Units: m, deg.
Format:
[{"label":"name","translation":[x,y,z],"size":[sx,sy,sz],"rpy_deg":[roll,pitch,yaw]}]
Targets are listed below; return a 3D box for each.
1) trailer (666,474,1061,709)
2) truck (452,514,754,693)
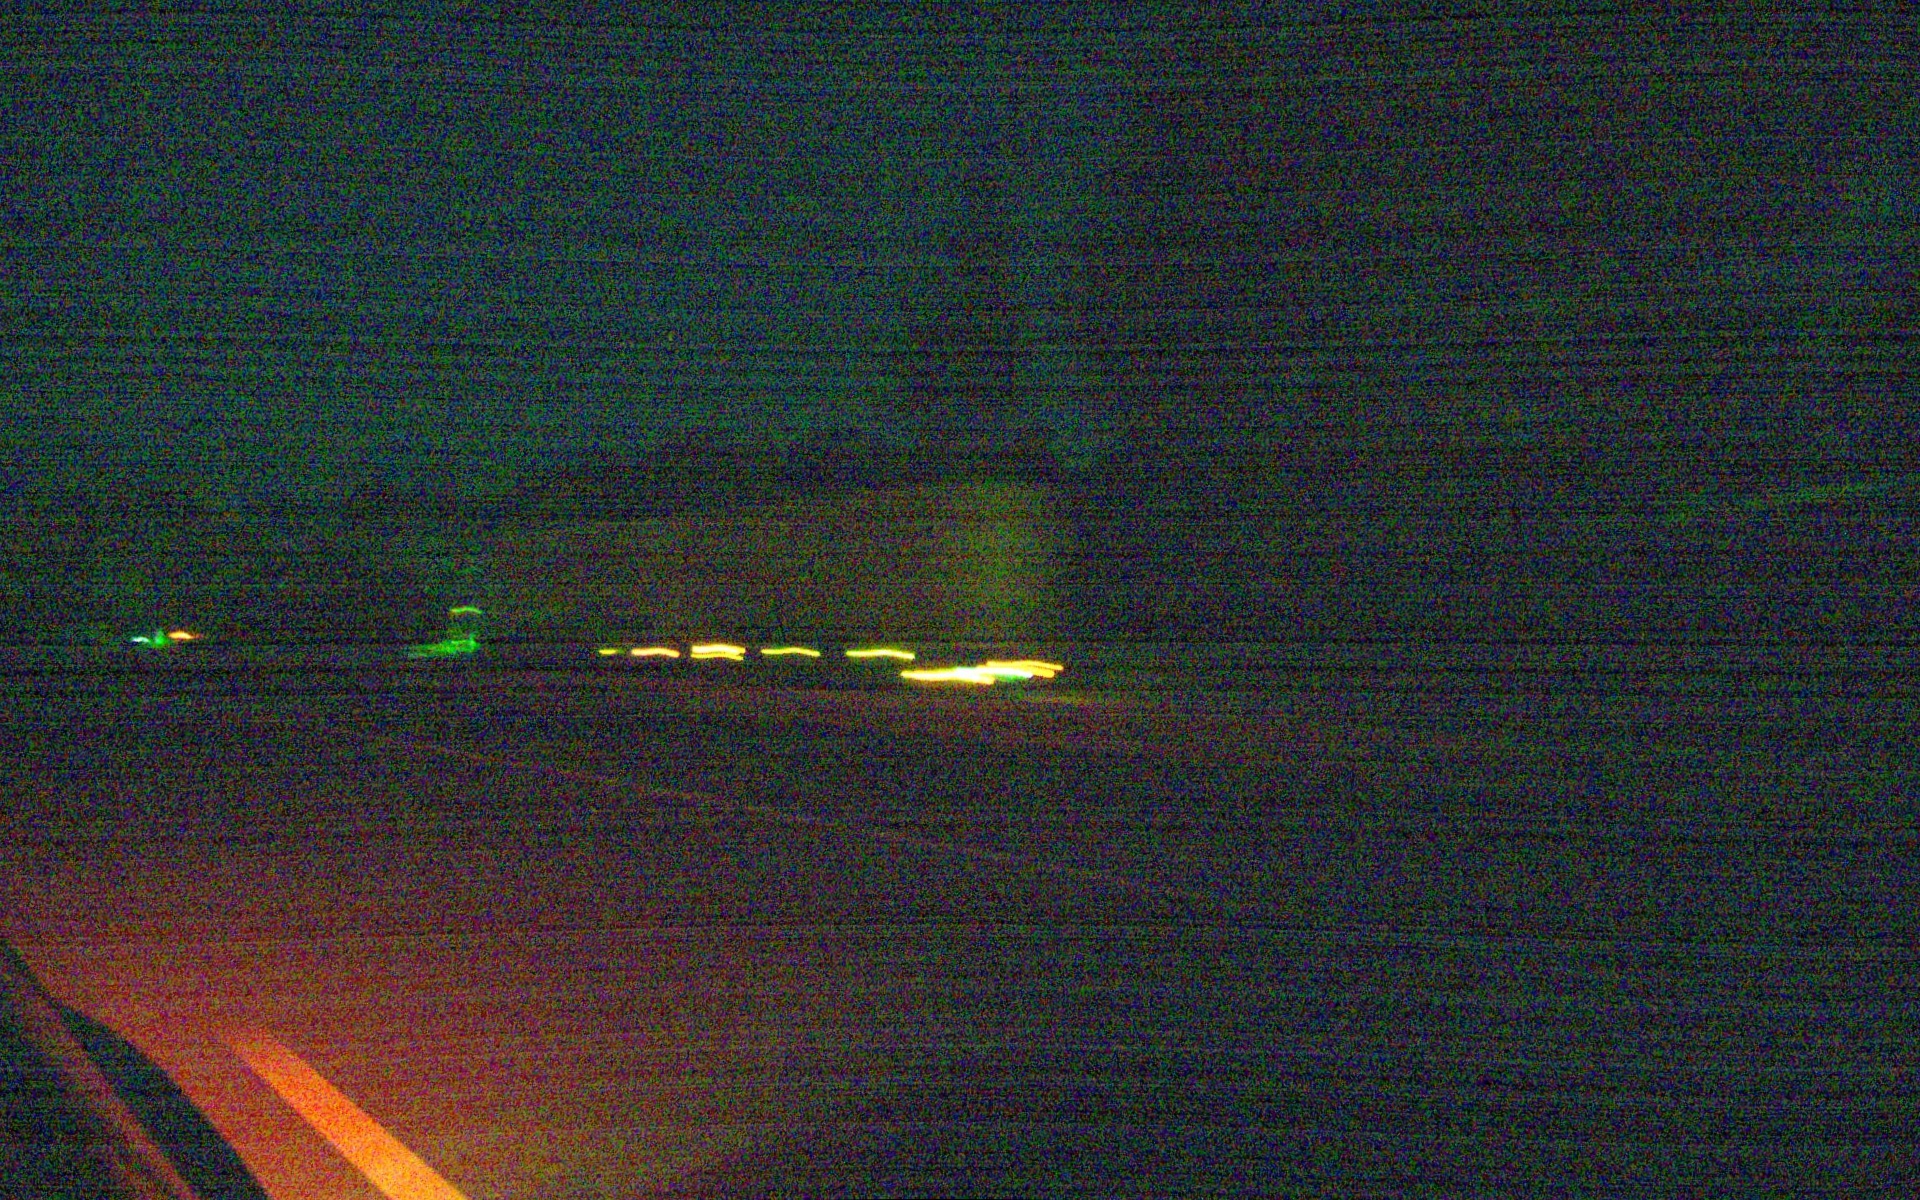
[{"label":"trailer","translation":[-2.396,-0.041,21.102],"size":[9.041,3.987,2.689],"rpy_deg":[-2,-2,41]},{"label":"truck","translation":[-10.030,0.202,27.420],"size":[10.644,4.075,2.654],"rpy_deg":[-2,-2,40]}]
